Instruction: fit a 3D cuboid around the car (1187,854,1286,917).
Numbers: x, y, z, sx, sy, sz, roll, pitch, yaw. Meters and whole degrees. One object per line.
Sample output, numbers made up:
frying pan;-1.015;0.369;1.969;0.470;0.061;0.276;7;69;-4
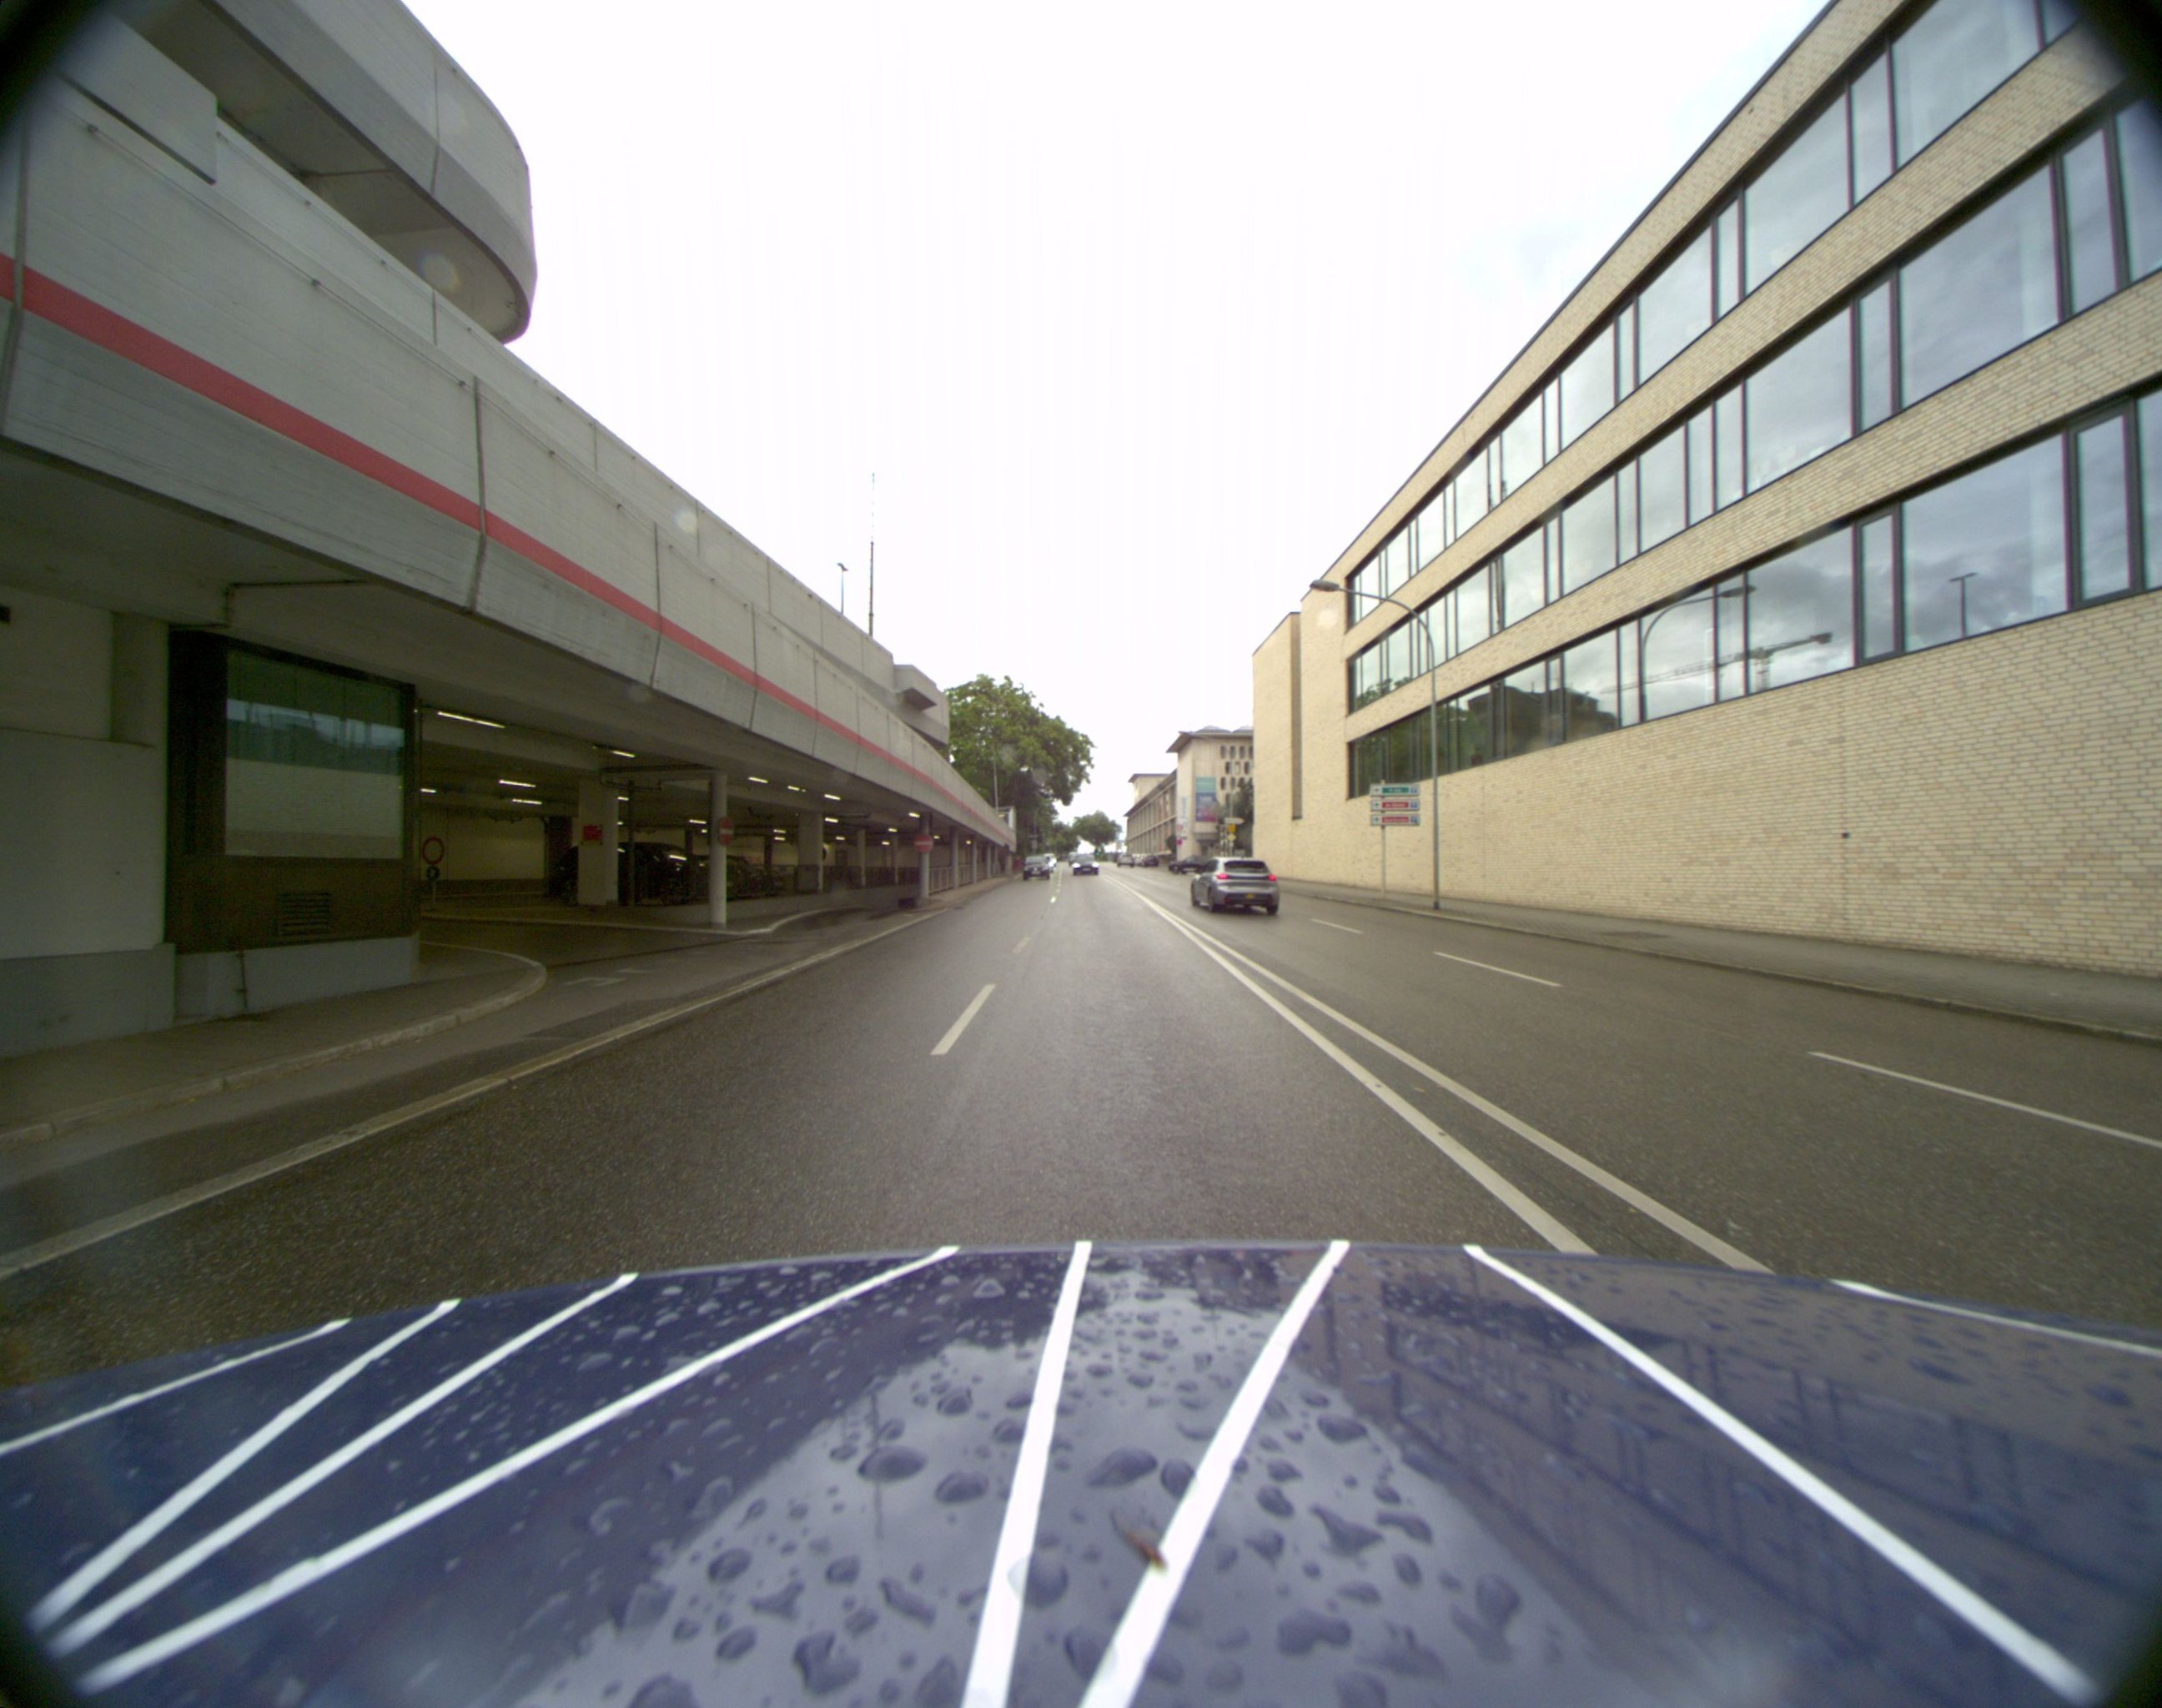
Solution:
car;4.048;0.764;20.338;1.745;1.462;3.881;1;1;-1

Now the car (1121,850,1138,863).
car;5.772;0.327;90.836;1.800;1.516;4.056;-2;0;1

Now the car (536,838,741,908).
car;-11.377;0.548;19.686;4.251;1.650;2.003;-1;-3;10

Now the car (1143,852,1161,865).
car;8.585;0.524;91.580;1.800;1.516;4.056;-2;0;1

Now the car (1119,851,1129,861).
car;8.038;0.400;143.191;1.698;1.715;3.756;-2;1;1

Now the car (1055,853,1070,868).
car;-2.258;0.772;93.462;1.727;1.628;3.999;-2;1;1

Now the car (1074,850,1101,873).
car;0.473;0.533;54.695;1.852;1.516;3.990;-2;0;1

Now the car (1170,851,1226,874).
car;9.171;0.653;59.560;3.990;1.652;1.864;-1;1;27

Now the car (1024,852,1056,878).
car;-2.527;0.675;47.856;1.683;1.516;3.990;-2;0;1

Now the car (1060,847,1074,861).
car;-2.149;-0.020;116.776;1.998;2.002;3.999;-2;1;0

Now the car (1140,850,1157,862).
car;8.614;0.264;97.158;1.800;1.516;4.056;-2;0;1

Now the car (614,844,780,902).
car;-11.906;0.644;23.711;4.251;1.650;2.003;-1;-3;10

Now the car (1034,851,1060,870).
car;-2.861;0.544;64.604;1.915;1.443;4.036;-2;1;0

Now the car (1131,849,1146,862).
car;8.596;0.212;113.771;1.998;1.819;3.999;-2;1;0
